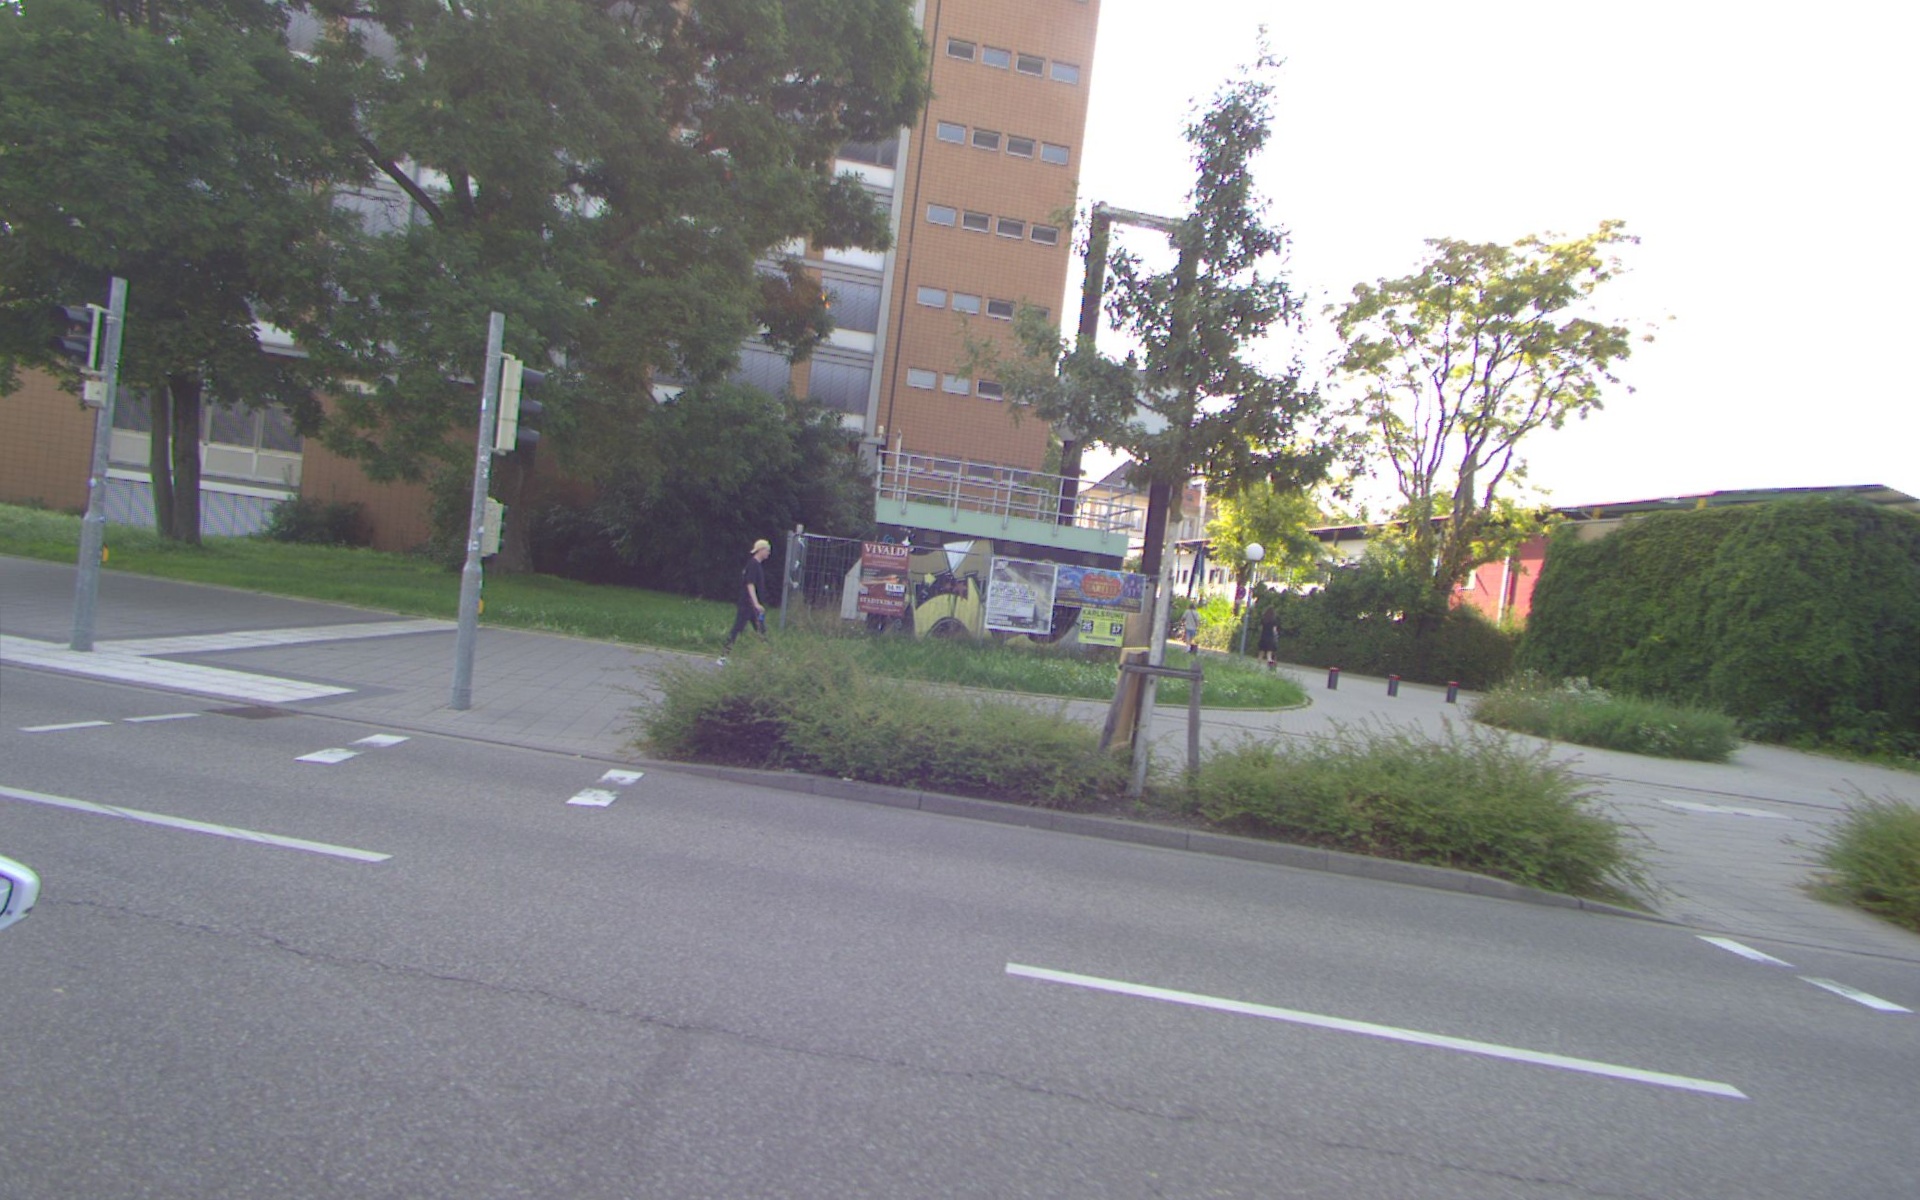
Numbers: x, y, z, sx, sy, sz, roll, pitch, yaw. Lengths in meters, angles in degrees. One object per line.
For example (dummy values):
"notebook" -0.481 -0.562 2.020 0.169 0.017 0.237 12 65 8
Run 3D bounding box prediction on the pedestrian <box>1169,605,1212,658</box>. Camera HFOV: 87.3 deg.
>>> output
"pedestrian" 7.872 1.061 34.361 1.059 1.618 1.317 7 3 4

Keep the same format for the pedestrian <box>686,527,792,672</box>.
"pedestrian" -3.006 -0.022 13.761 0.984 1.807 0.960 7 3 6

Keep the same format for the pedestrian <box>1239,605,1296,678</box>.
"pedestrian" 8.161 1.085 26.774 0.943 1.758 1.001 6 3 -4
